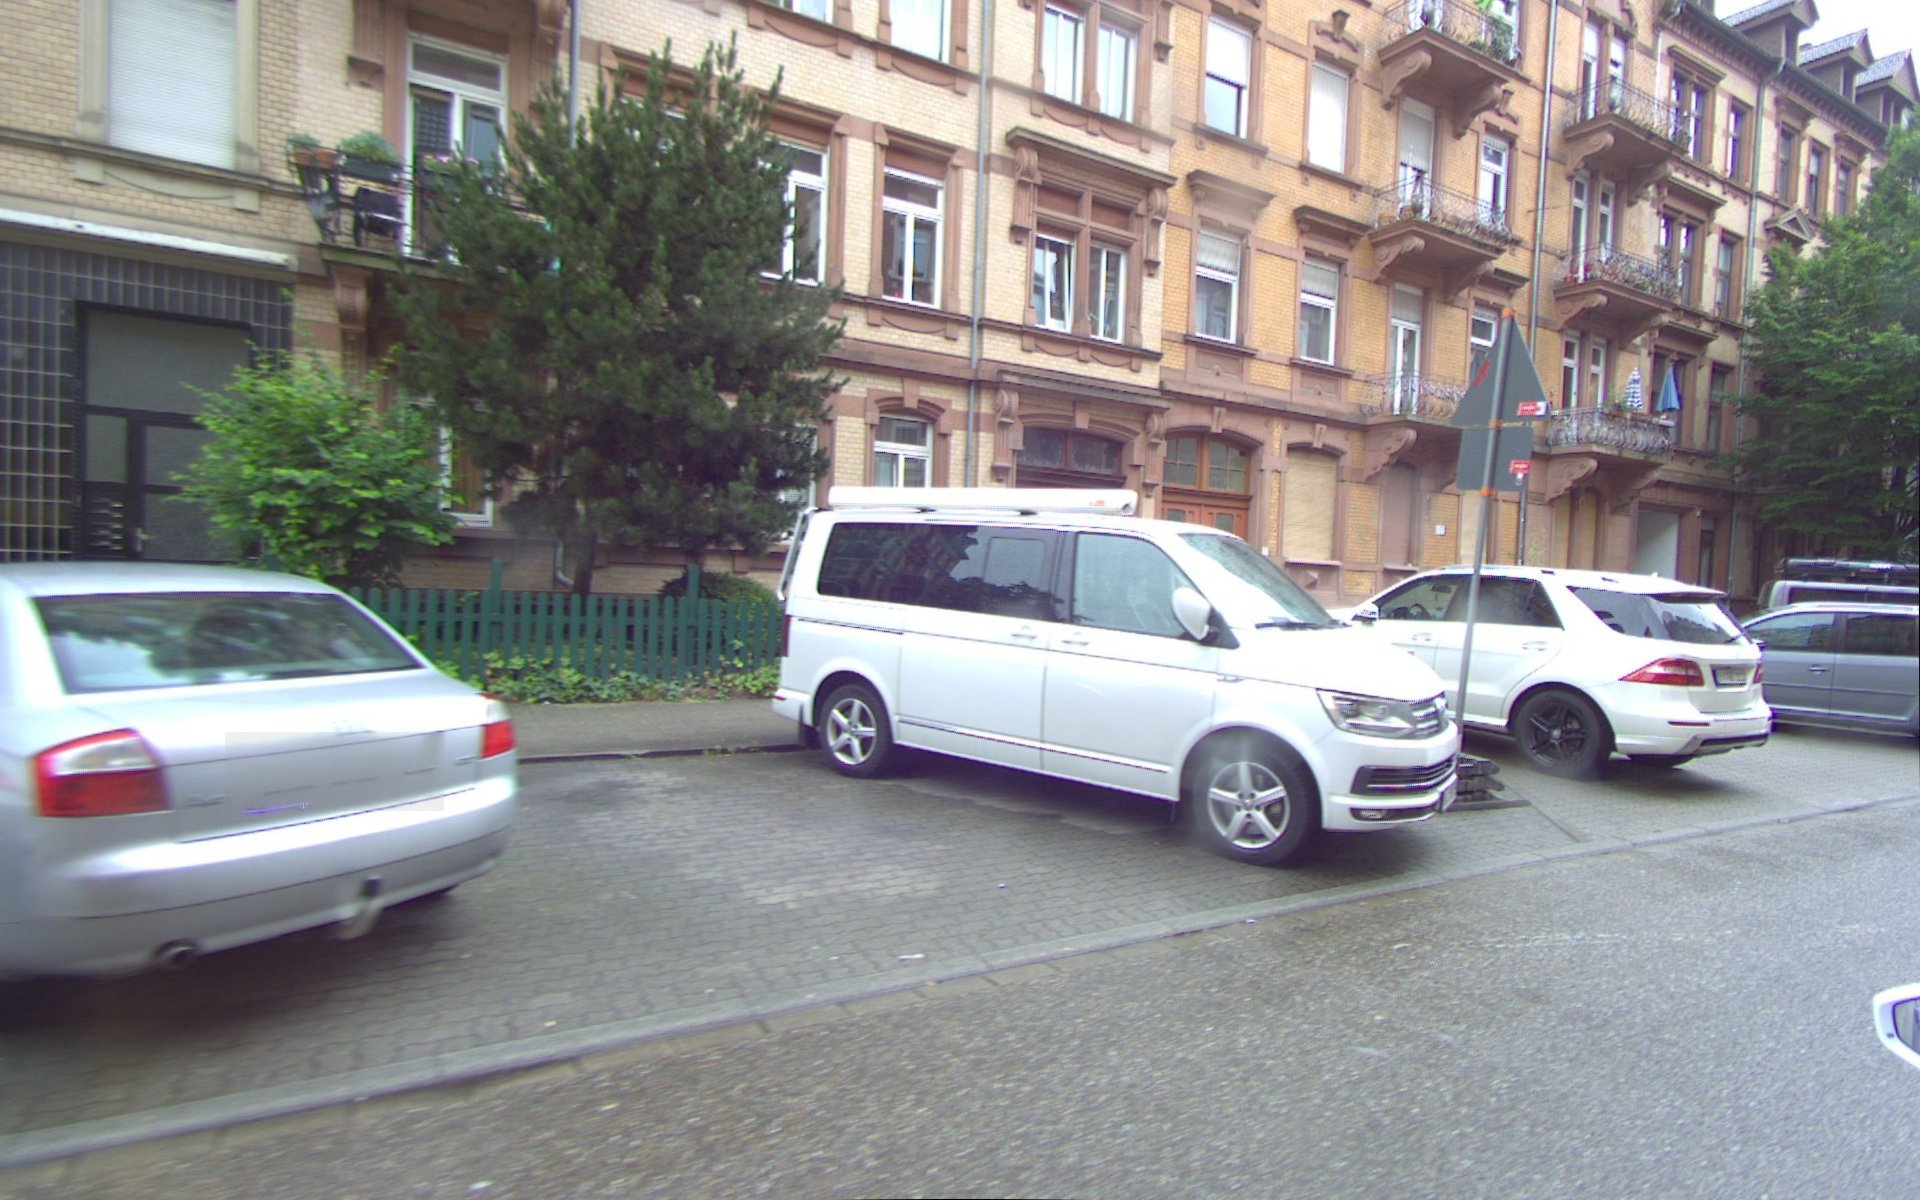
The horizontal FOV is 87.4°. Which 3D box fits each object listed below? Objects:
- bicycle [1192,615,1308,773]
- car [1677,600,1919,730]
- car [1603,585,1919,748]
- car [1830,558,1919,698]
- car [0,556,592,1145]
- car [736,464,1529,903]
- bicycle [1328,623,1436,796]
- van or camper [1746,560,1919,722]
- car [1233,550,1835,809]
[{"bbox_3d":[2.609,0.753,8.895,0.474,1.190,2.040,3,2,30],"label":"bicycle"},{"bbox_3d":[12.897,0.922,14.251,4.289,1.525,1.747,5,4,38],"label":"car"},{"bbox_3d":[10.909,0.800,12.847,4.371,1.652,1.838,6,4,35],"label":"car"},{"bbox_3d":[19.885,0.610,18.470,5.478,2.575,2.223,3,2,33],"label":"car"},{"bbox_3d":[-3.630,0.579,4.338,3.930,1.455,1.780,3,1,32],"label":"car"},{"bbox_3d":[0.905,0.290,7.097,5.168,2.106,1.863,4,1,36],"label":"car"},{"bbox_3d":[3.557,0.828,8.376,0.534,1.190,2.040,3,2,30],"label":"bicycle"},{"bbox_3d":[15.511,0.661,15.604,4.941,2.381,2.337,3,2,35],"label":"van or camper"},{"bbox_3d":[5.382,0.529,10.138,2.515,1.809,4.556,1,4,-30],"label":"car"}]
